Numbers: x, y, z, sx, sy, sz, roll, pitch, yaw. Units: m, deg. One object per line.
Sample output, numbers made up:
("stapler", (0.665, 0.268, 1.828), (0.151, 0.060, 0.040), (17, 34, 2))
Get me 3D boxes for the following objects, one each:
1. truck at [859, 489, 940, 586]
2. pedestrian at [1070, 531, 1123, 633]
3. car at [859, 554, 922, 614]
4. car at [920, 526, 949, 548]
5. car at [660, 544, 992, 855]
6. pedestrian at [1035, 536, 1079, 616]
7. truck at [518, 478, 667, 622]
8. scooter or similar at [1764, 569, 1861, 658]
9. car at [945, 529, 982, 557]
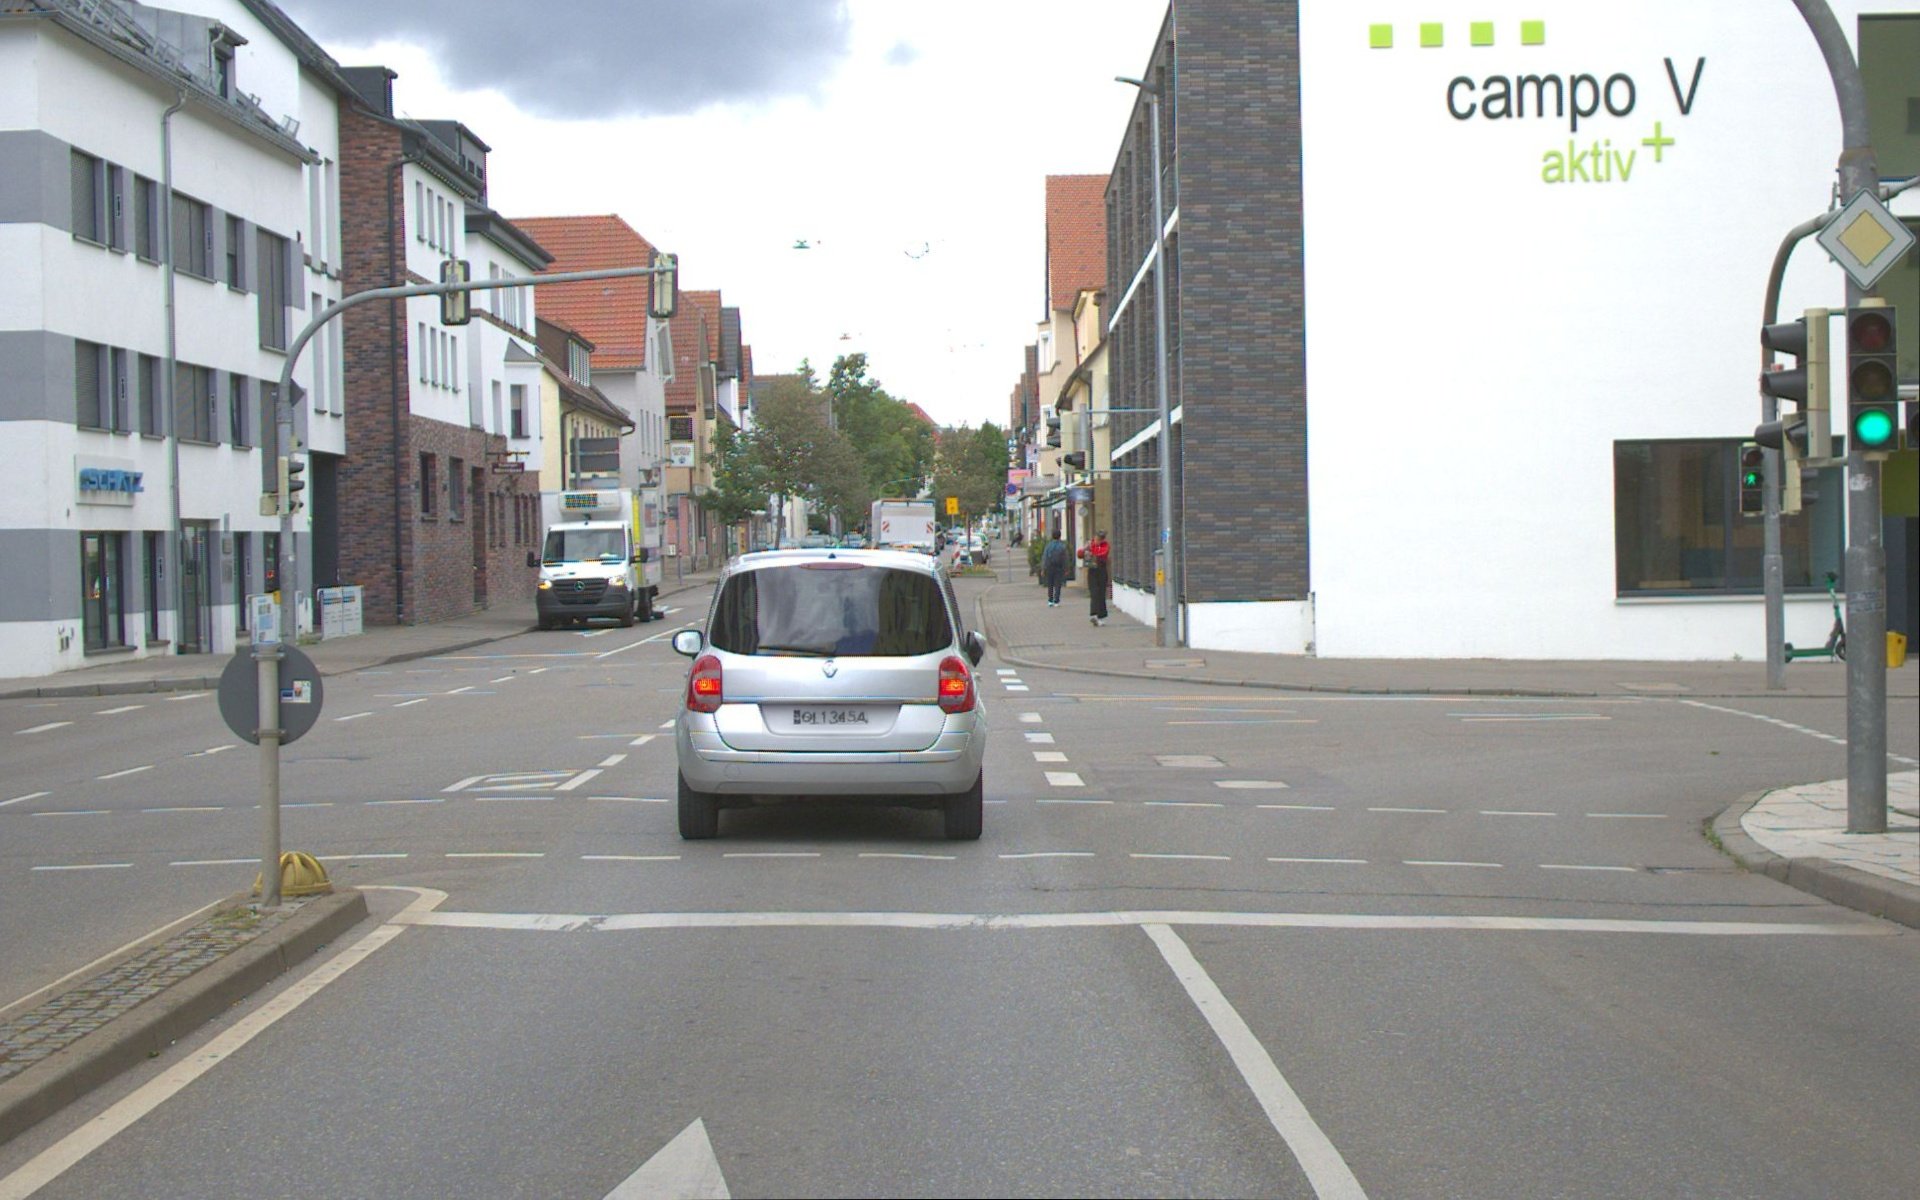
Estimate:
("truck", (-2.502, -2.566, 140.393), (2.595, 3.844, 6.850), (-1, 1, -7))
("pedestrian", (2.473, -0.328, 62.396), (0.807, 1.780, 0.861), (-4, 1, 0))
("car", (-1.916, -0.454, 95.530), (1.706, 1.573, 4.000), (1, 1, -1))
("car", (-1.636, -4.131, 223.582), (1.812, 1.349, 4.000), (-2, 1, 0))
("car", (-0.720, 0.486, 19.865), (1.706, 1.573, 4.000), (1, 1, -1))
("pedestrian", (2.245, -0.551, 79.366), (0.889, 1.780, 0.785), (-4, 1, 0))
("truck", (-7.976, -1.126, 75.482), (2.435, 2.943, 8.365), (-1, 1, -1))
("scooter or similar", (11.978, 0.186, 48.314), (1.230, 1.231, 0.406), (1, 1, 1))
("car", (0.175, -2.896, 175.259), (1.812, 1.349, 4.000), (-2, 1, 0))
